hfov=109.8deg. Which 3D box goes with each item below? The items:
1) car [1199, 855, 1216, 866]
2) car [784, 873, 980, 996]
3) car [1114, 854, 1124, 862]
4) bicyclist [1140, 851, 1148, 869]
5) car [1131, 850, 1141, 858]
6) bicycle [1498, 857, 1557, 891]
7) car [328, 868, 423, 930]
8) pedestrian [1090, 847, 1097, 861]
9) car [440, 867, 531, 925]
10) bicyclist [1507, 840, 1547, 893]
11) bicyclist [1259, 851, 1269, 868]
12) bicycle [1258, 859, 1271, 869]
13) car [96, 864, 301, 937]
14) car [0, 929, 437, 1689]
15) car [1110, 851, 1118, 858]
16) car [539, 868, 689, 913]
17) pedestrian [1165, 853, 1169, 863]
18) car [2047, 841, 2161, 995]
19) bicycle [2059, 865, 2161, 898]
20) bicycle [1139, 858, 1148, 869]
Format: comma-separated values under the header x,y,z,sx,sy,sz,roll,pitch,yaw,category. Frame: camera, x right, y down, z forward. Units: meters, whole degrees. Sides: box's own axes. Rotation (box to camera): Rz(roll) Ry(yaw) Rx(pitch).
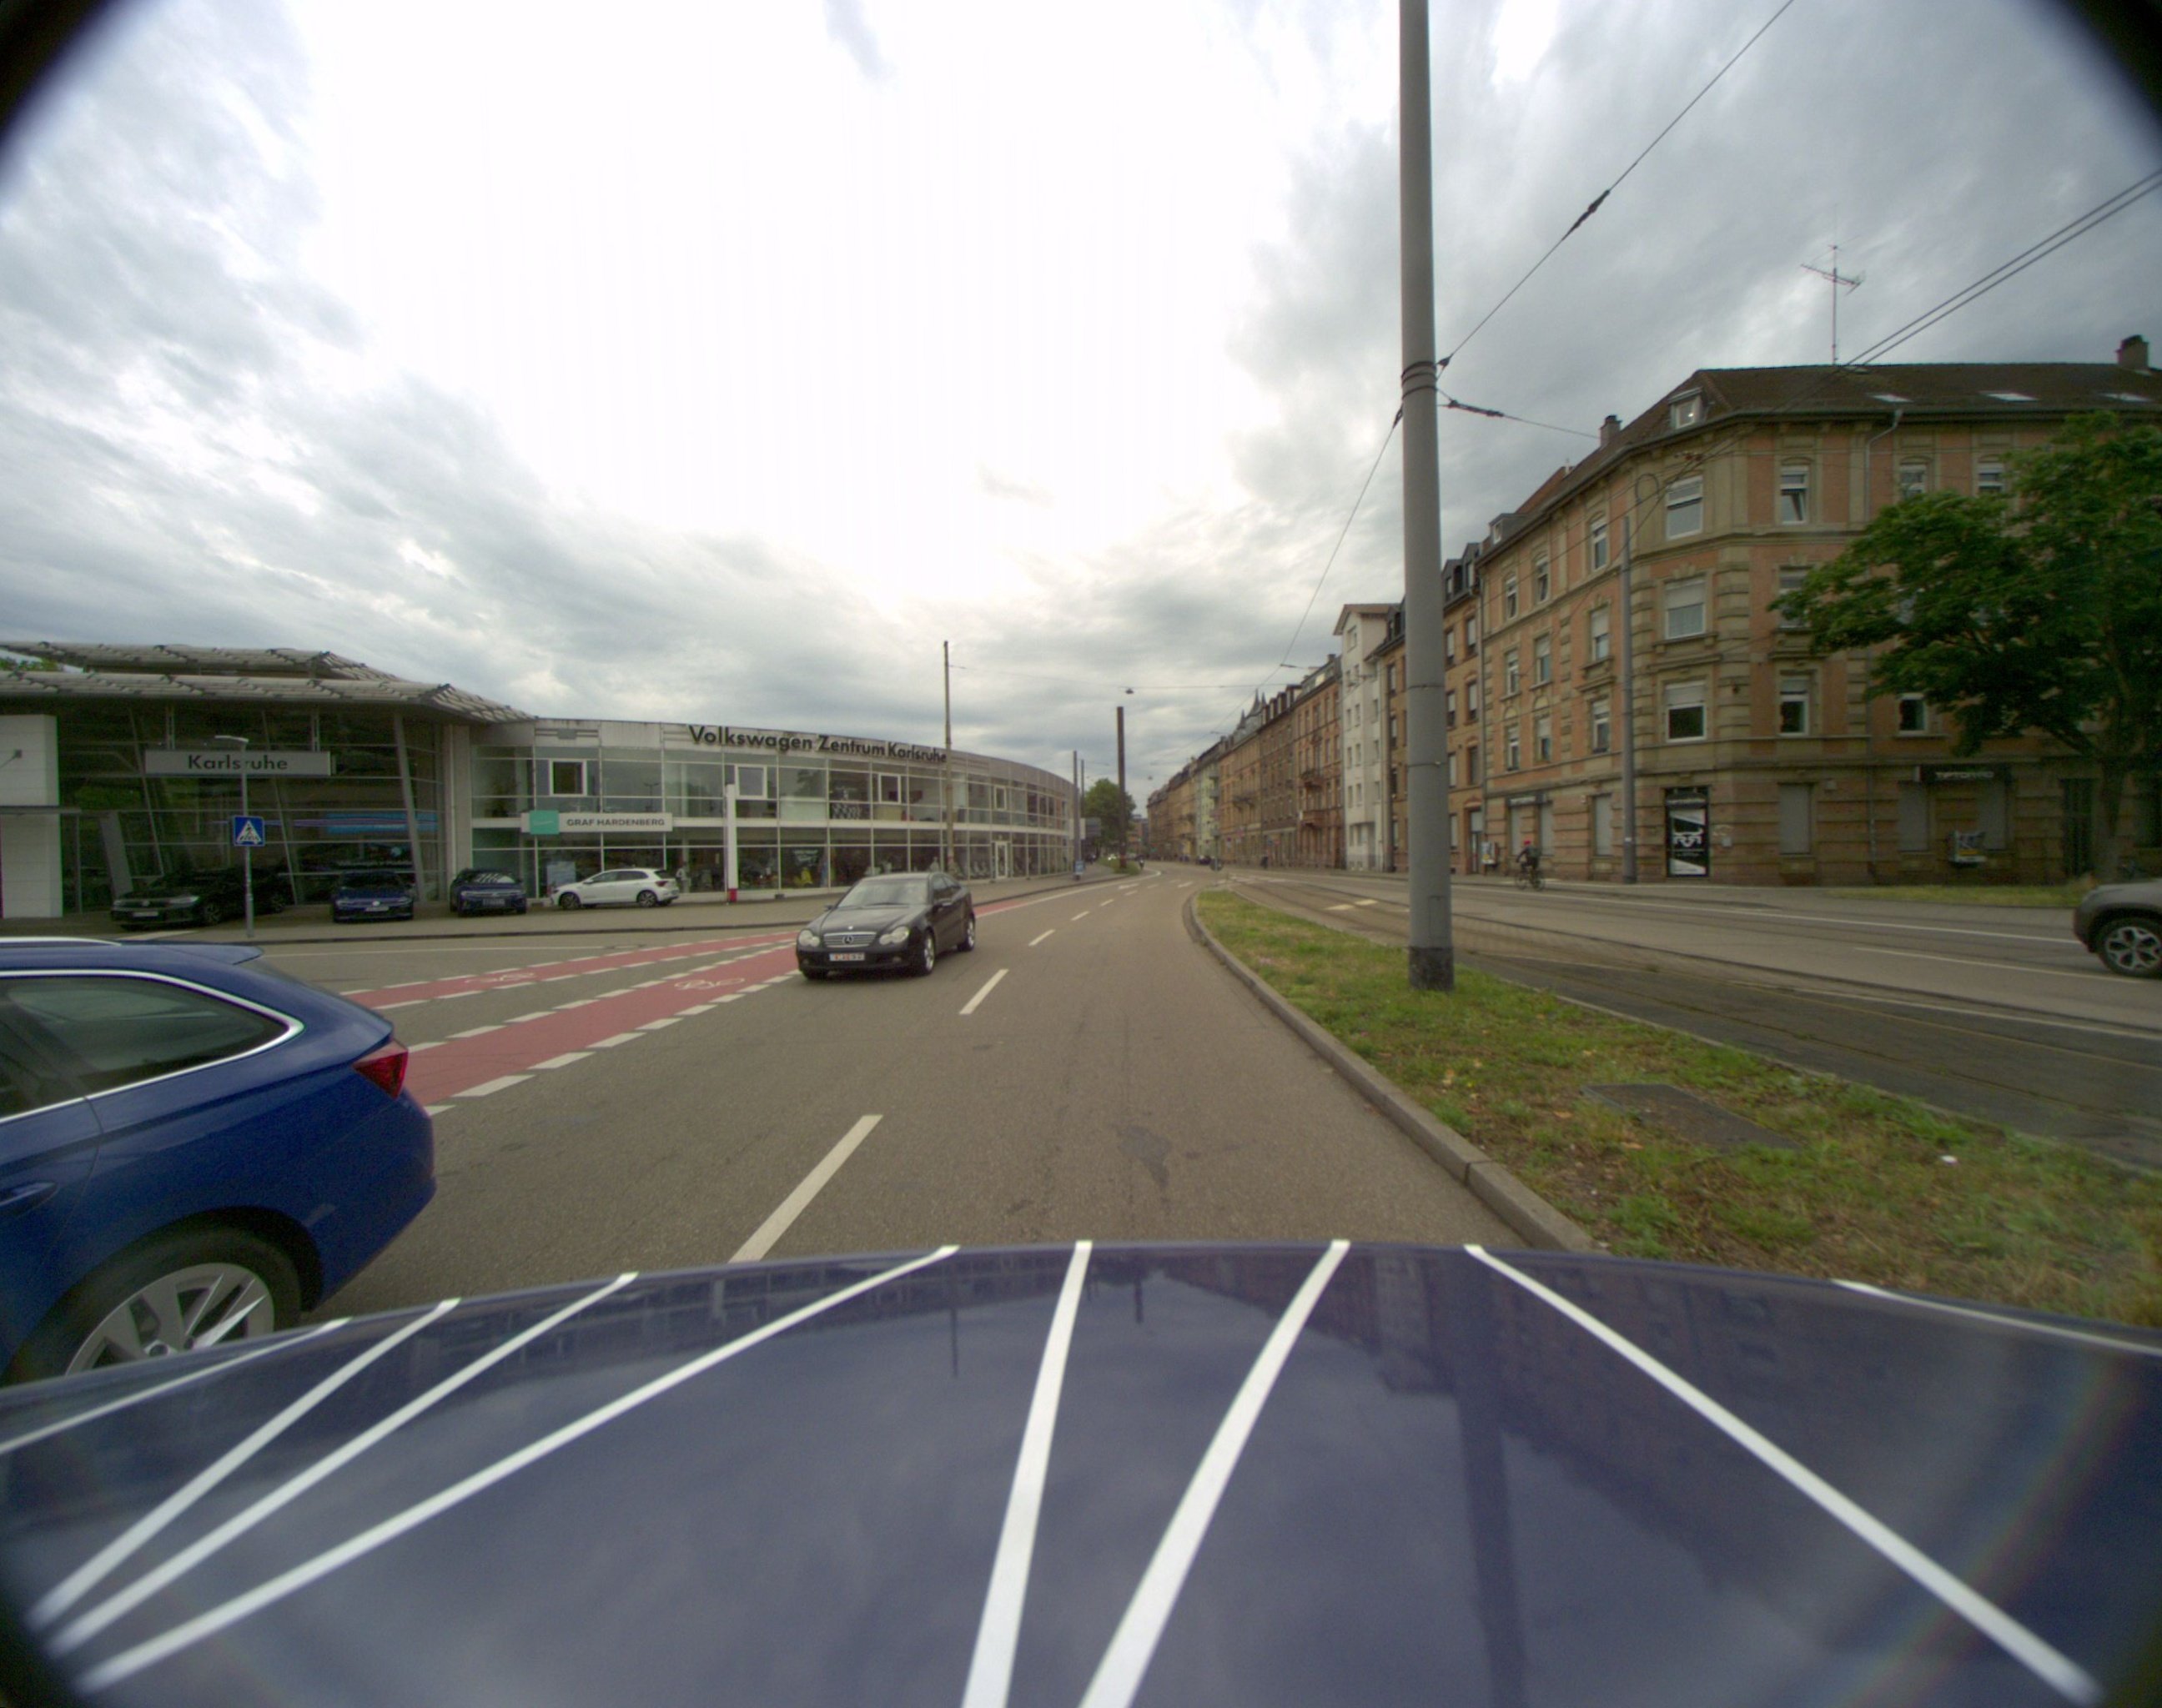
x,y,z,sx,sy,sz,roll,pitch,yaw,category
17.138,0.869,102.856,1.852,1.471,3.828,-1,0,3,car
-2.779,1.070,11.602,1.714,1.413,4.070,-1,0,3,car
8.080,0.774,161.972,1.802,1.630,4.230,-1,0,1,car
6.070,0.601,73.631,0.730,1.747,0.911,-1,1,7,bicyclist
12.028,-0.076,166.263,1.802,1.630,4.230,-1,0,1,car
16.238,0.699,27.715,0.826,1.201,2.234,0,0,-1,bicycle
-22.190,1.320,23.843,4.325,1.496,1.862,3,3,43,car
1.727,0.019,105.810,0.871,1.843,0.706,-1,1,1,pedestrian
-20.136,1.351,25.639,1.905,1.554,4.207,-2,3,-45,car
16.243,0.460,27.681,0.831,1.881,1.049,0,0,-1,bicyclist
16.251,0.495,67.502,0.663,1.486,0.942,-1,1,-3,bicyclist
16.255,0.881,67.423,0.607,0.910,1.719,-1,0,-4,bicycle
-26.475,1.298,23.075,1.862,1.624,4.500,-3,4,-18,car
-3.187,1.039,0.415,1.784,1.480,4.465,-1,1,1,car
7.978,0.081,184.068,1.802,1.630,4.230,-1,0,1,car
-16.986,1.293,27.838,4.263,1.444,1.781,-1,0,-9,car
17.012,0.721,150.415,0.814,2.002,0.733,-1,1,1,pedestrian
12.424,0.678,6.965,1.802,1.630,4.230,-1,0,1,car
30.334,0.823,22.231,0.662,0.909,1.989,0,-3,-10,bicycle
6.091,0.949,73.757,0.727,1.003,2.177,-1,0,7,bicycle
